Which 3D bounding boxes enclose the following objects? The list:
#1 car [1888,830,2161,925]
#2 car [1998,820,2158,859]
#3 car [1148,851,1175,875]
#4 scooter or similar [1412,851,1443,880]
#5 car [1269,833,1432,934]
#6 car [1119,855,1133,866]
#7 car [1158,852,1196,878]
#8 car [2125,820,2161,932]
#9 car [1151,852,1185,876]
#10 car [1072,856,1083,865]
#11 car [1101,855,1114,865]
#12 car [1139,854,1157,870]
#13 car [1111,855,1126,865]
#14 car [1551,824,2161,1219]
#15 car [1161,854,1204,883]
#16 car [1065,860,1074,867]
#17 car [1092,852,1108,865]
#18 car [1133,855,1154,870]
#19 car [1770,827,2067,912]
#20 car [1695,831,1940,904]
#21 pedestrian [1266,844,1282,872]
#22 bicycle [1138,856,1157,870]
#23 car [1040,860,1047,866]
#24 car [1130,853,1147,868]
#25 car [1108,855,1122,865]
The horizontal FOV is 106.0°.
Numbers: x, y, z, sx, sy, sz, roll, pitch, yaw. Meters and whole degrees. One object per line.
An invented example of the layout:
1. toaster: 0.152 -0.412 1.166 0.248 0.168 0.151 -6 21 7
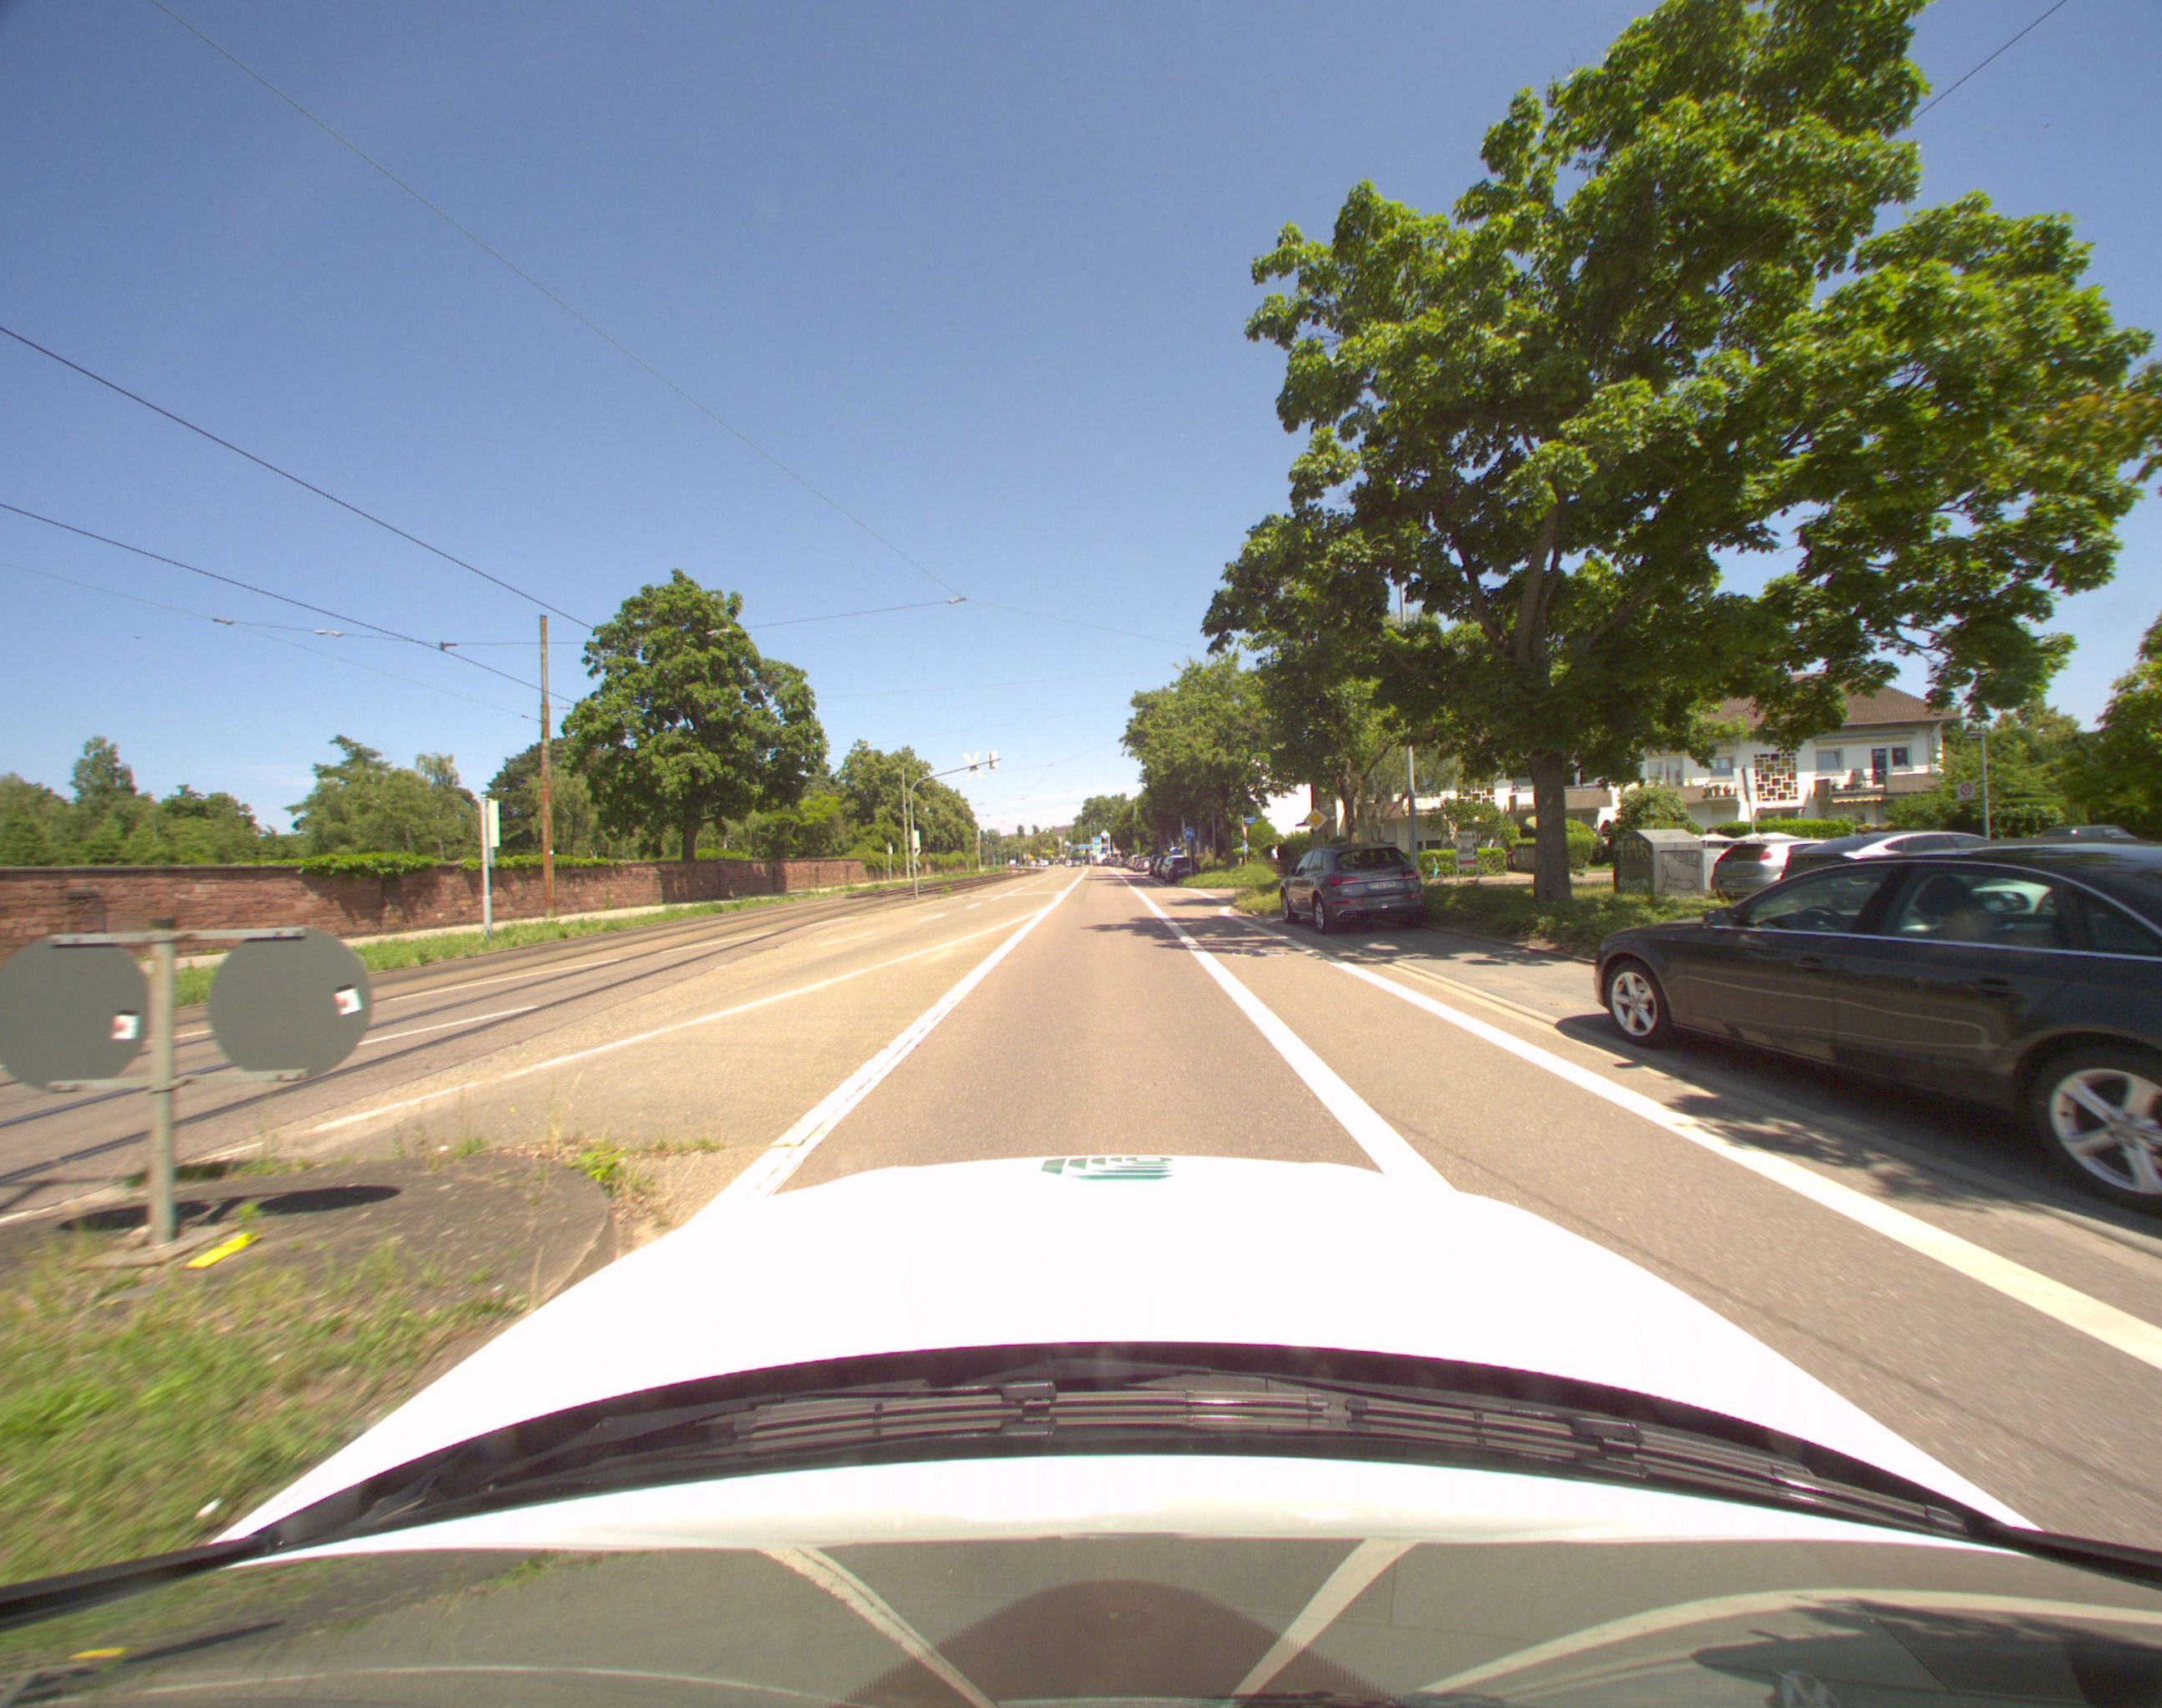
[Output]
1. car: 15.344 0.342 12.632 3.845 1.358 1.771 0 0 2
2. car: 38.705 -0.539 31.712 3.759 1.346 1.725 -2 0 8
3. car: 6.434 0.680 65.751 1.833 1.706 4.629 -5 0 3
4. scooter or similar: 15.649 0.505 36.773 1.175 1.271 0.604 -2 0 17
5. car: 5.227 0.542 16.510 1.706 1.632 4.709 -5 -1 1
6. car: 7.178 1.007 130.705 1.703 1.492 5.033 -5 0 -3
7. car: 6.399 0.694 54.544 1.836 1.529 4.203 -5 0 -1
8. car: 15.404 0.270 9.853 3.321 1.428 1.683 0 0 2
9. car: 6.384 0.715 59.992 1.835 1.529 4.351 -5 0 -1
10. car: -0.715 1.383 164.563 1.755 1.630 4.312 -5 0 -8
11. car: 5.048 1.184 157.809 1.755 1.630 4.312 -5 0 -8
12. car: 7.187 0.882 87.666 1.513 1.529 3.818 -5 0 1
13. car: 6.576 1.073 141.895 1.706 1.562 4.312 -5 0 -8
14. car: 4.927 0.622 4.611 1.707 1.418 4.707 -5 0 0
15. car: 5.940 0.822 48.148 1.835 1.436 4.823 -5 0 -1
16. car: -2.873 2.362 203.393 1.754 1.630 4.314 -5 0 -6
17. car: 3.906 0.921 167.945 2.000 2.456 6.090 -5 0 -9
18. car: 7.083 0.915 92.676 1.836 1.529 4.963 -5 0 -1
19. car: 15.625 0.278 15.347 3.849 1.489 1.769 0 0 -1
20. car: 16.082 0.283 17.912 3.849 1.489 1.769 0 0 -1
21. pedestrian: 11.933 0.244 50.307 0.746 1.722 0.632 -2 -1 -5
22. bicycle: 6.986 0.947 85.629 1.765 1.228 0.684 -7 -1 5
23. car: -11.453 2.797 249.899 1.755 1.874 4.312 -5 0 -8
24. car: 7.580 0.821 107.654 1.835 1.794 4.353 -5 0 0
25. car: 6.197 1.121 147.817 1.705 1.562 4.314 -5 0 -6
